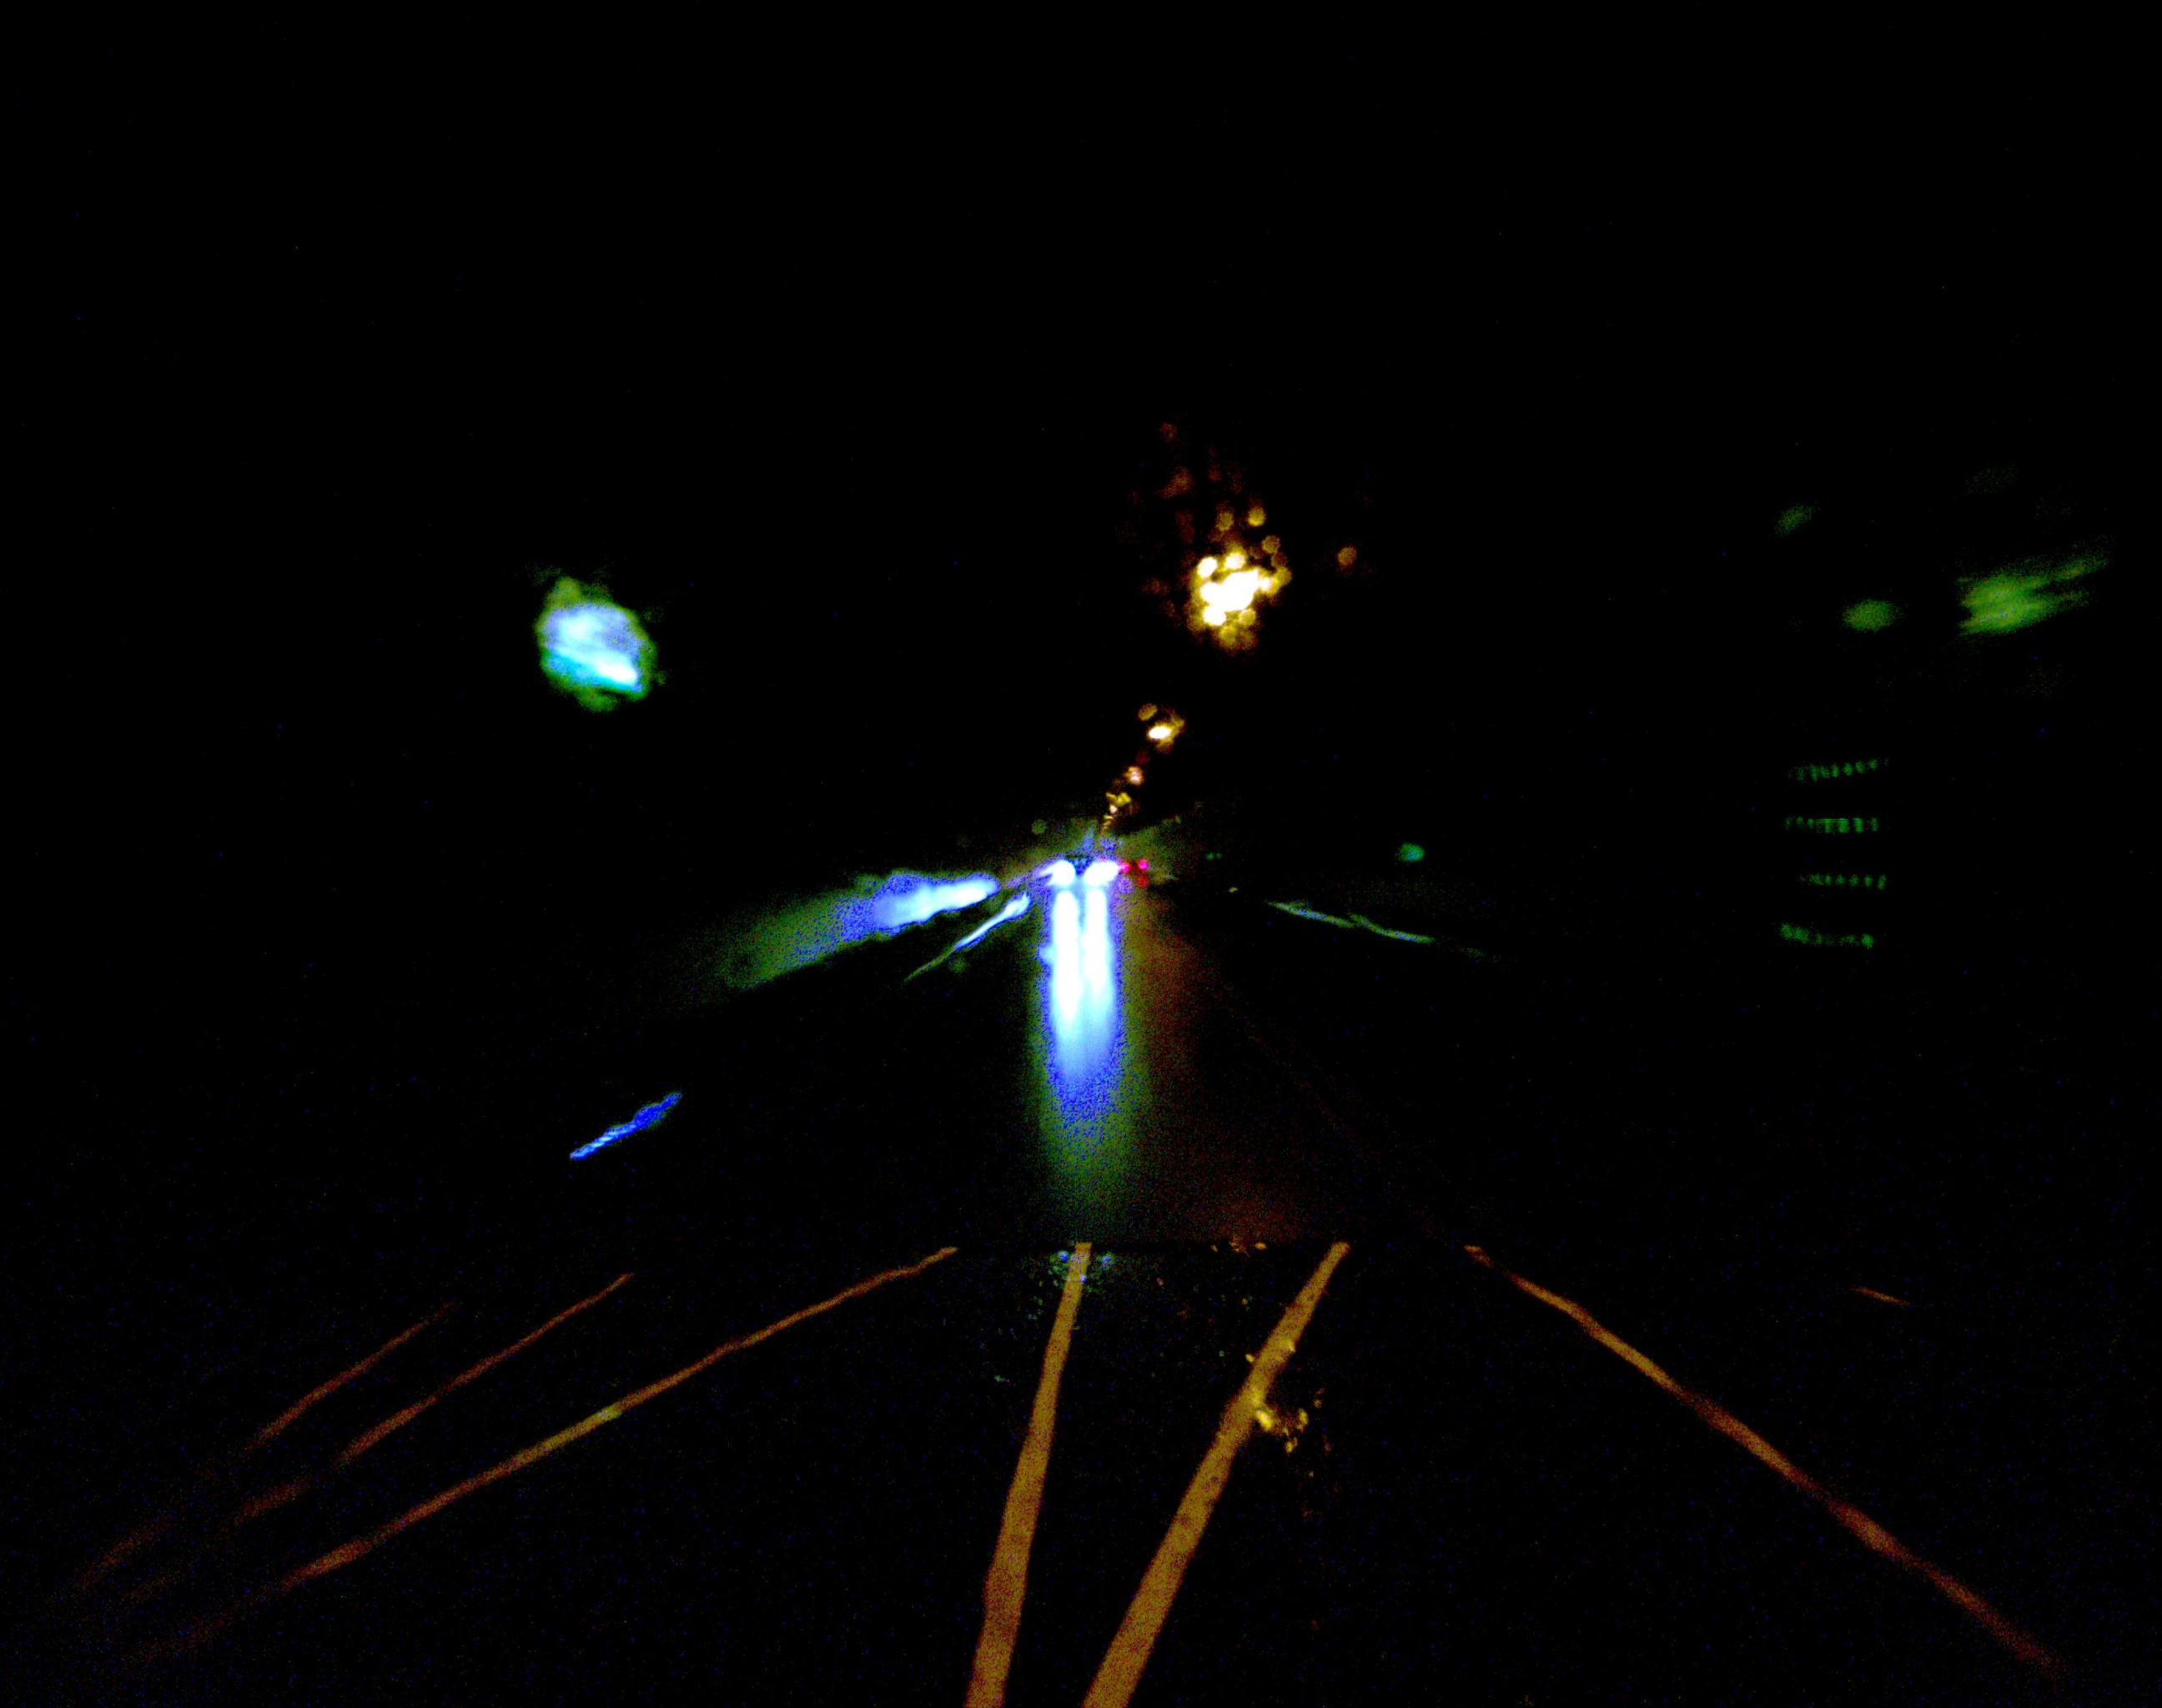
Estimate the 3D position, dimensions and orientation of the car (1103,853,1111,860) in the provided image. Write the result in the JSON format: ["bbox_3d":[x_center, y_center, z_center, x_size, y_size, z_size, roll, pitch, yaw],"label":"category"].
[{"bbox_3d":[5.875,0.555,172.075,1.712,1.410,3.973,-1,1,1],"label":"car"}]

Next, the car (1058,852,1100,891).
[{"bbox_3d":[-0.038,0.759,35.604,1.829,1.650,3.929,-1,1,1],"label":"car"}]

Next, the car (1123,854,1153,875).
[{"bbox_3d":[4.263,0.755,57.376,1.998,1.410,4.713,-1,1,1],"label":"car"}]
